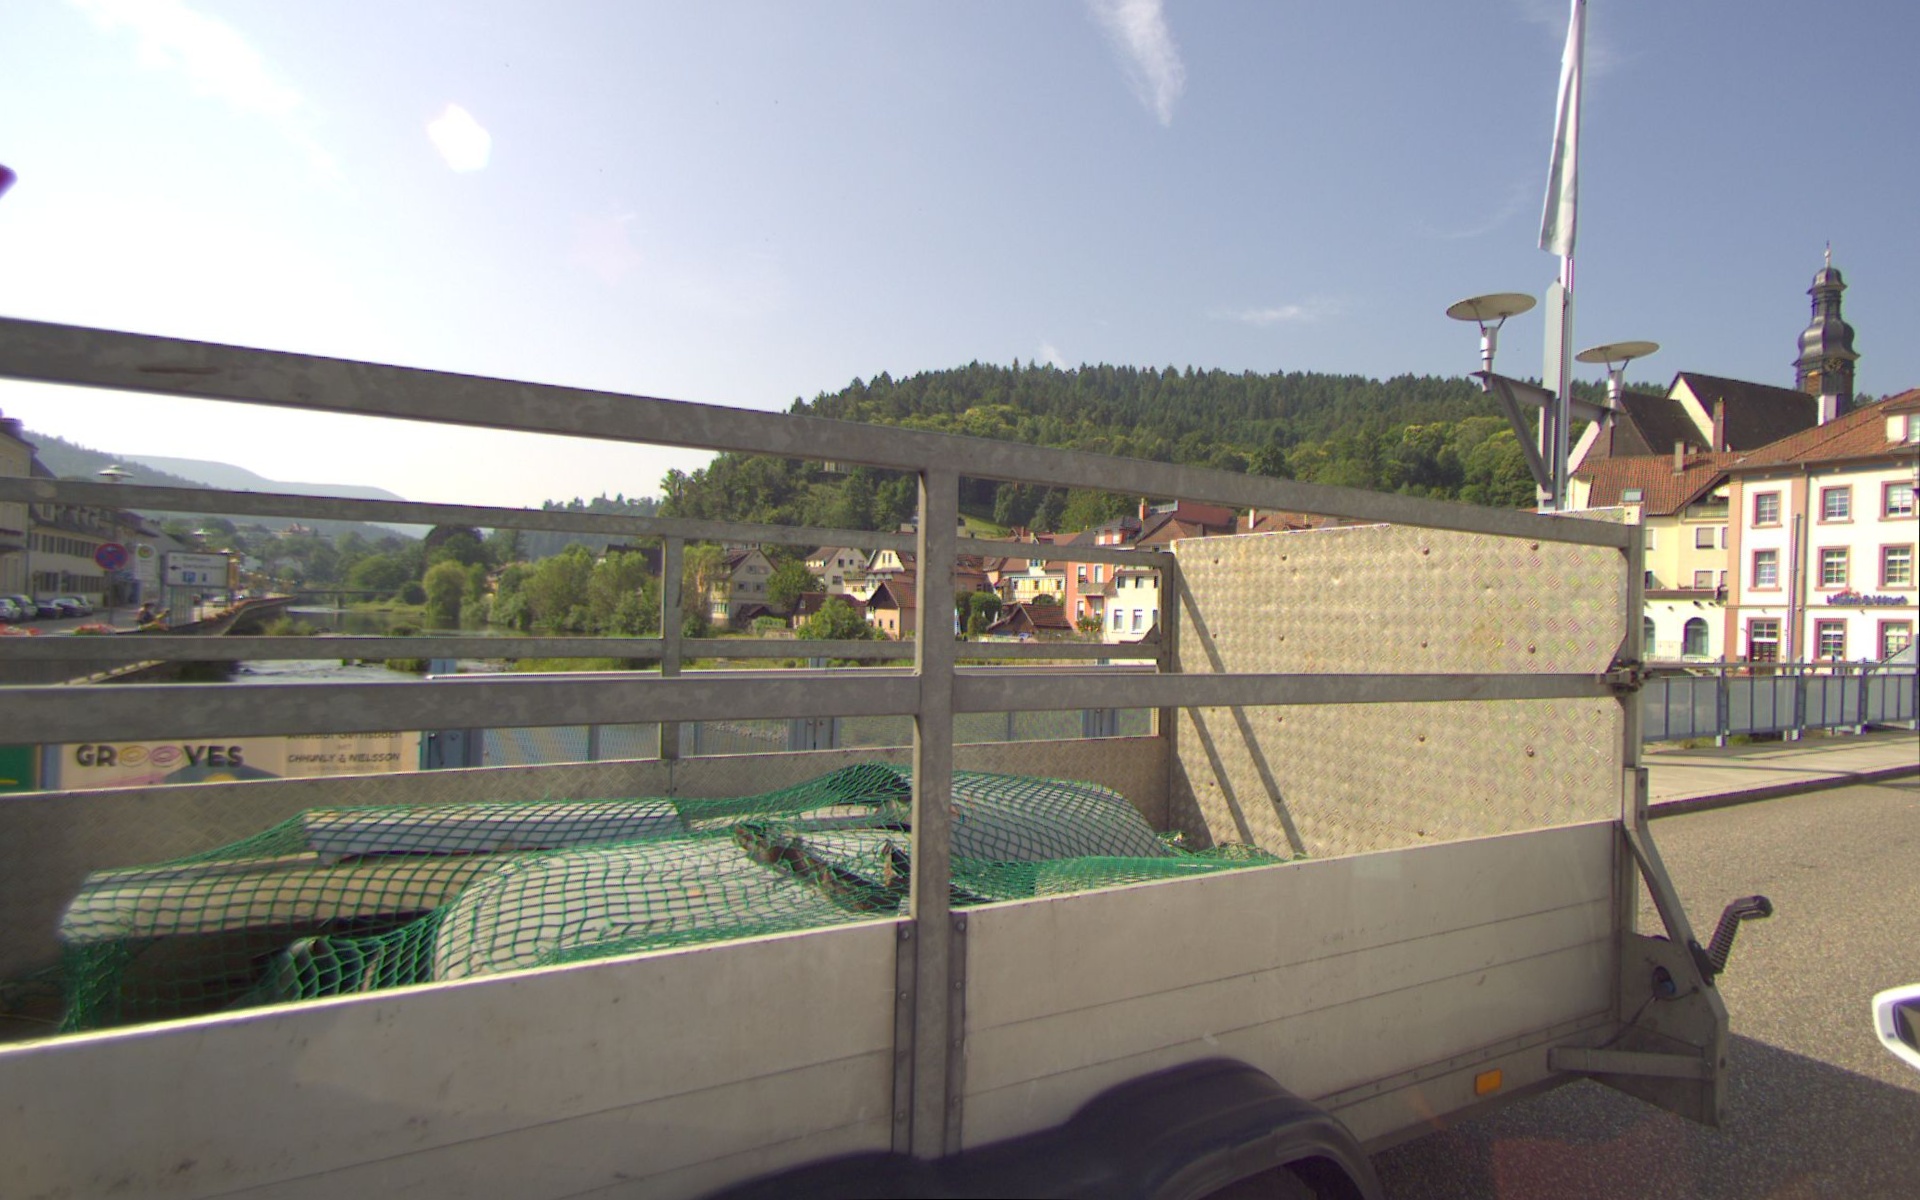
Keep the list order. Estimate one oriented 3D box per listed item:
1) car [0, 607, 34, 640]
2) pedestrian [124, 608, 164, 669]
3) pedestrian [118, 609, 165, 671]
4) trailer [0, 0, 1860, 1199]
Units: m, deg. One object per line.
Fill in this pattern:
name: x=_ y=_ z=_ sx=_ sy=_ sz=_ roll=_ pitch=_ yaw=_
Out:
car: x=-59.064 y=1.425 z=62.324 sx=1.734 sy=1.960 sz=3.544 roll=1 pitch=-1 yaw=-33
pedestrian: x=-23.464 y=1.099 z=28.895 sx=0.783 sy=1.728 sz=0.487 roll=2 pitch=-1 yaw=-31
pedestrian: x=-23.103 y=1.123 z=28.375 sx=0.859 sy=1.728 sz=0.771 roll=2 pitch=-1 yaw=-31
trailer: x=-0.949 y=0.462 z=2.033 sx=5.572 sy=1.852 sz=2.598 roll=1 pitch=-1 yaw=-31
